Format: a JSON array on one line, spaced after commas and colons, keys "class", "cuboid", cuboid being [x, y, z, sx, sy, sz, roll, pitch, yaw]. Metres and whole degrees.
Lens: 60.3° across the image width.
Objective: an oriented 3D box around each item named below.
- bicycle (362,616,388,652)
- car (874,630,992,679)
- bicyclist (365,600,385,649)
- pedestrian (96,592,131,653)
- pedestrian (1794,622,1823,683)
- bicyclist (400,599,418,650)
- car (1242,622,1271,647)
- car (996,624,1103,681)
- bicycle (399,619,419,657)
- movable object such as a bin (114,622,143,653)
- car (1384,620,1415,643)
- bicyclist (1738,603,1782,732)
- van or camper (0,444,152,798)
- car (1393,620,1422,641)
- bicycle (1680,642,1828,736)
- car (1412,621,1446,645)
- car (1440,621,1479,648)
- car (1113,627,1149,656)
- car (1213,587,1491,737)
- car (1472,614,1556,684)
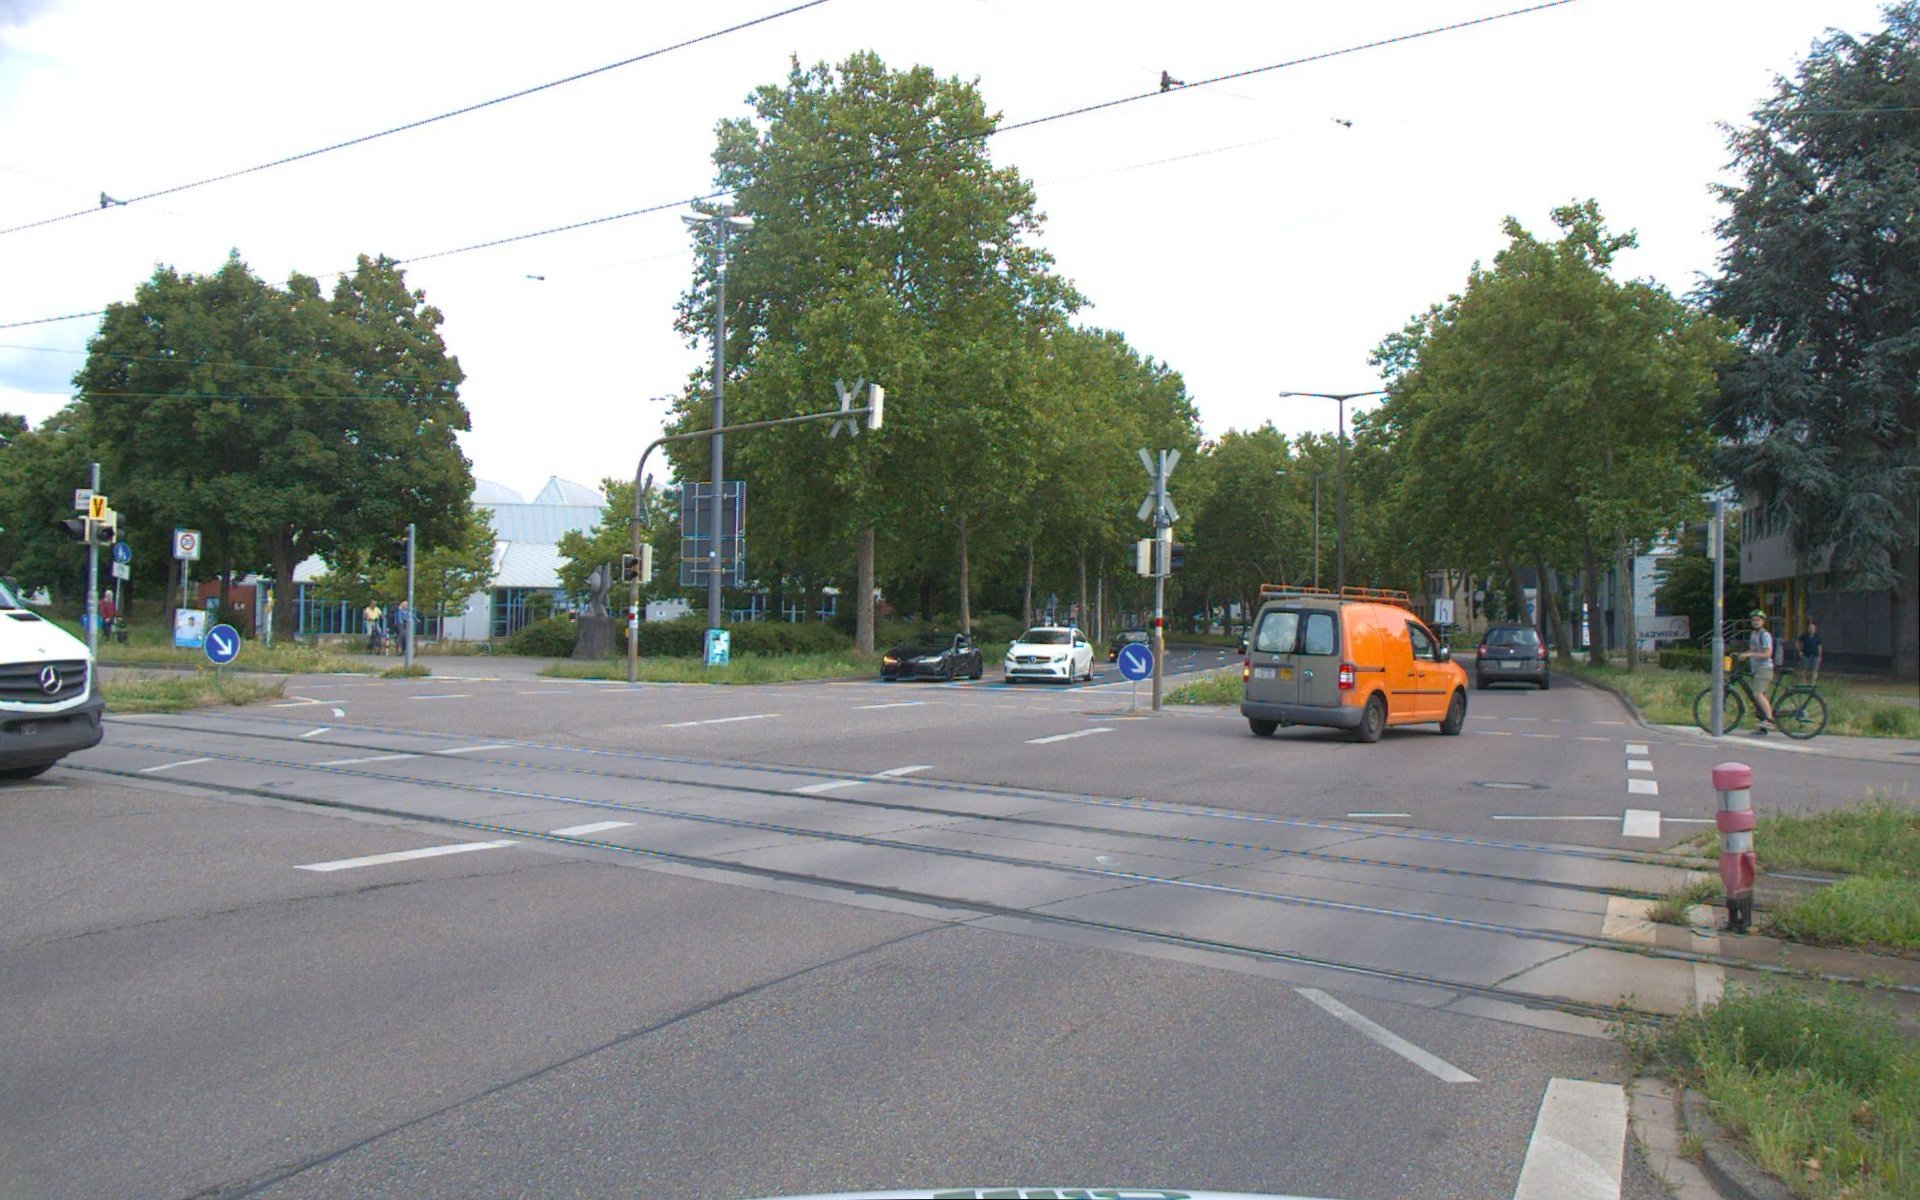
[{"class": "bicycle", "cuboid": [-19.386, 1.120, 54.779, 0.555, 1.150, 1.366, 1, -1, -30]}, {"class": "car", "cuboid": [-0.662, 1.429, 43.953, 1.603, 1.212, 3.704, 1, -1, 27]}, {"class": "bicyclist", "cuboid": [-19.377, 0.815, 54.789, 0.480, 1.581, 0.550, 3, -2, -31]}, {"class": "pedestrian", "cuboid": [-23.585, 0.621, 46.099, 0.622, 1.673, 0.614, 0, 1, 12]}, {"class": "pedestrian", "cuboid": [22.779, 1.392, 44.399, 0.607, 1.597, 0.559, 1, 1, 20]}, {"class": "bicyclist", "cuboid": [-17.469, 0.777, 52.431, 0.478, 1.581, 0.553, 2, -3, -19]}, {"class": "car", "cuboid": [17.841, 2.077, 99.702, 1.621, 1.293, 3.774, 0, 1, 8]}, {"class": "car", "cuboid": [2.414, 1.338, 43.529, 1.787, 1.388, 4.139, 1, -1, 18]}, {"class": "bicycle", "cuboid": [-17.477, 1.201, 52.431, 0.552, 1.150, 1.372, 3, -2, -19]}, {"class": "movable object such as a bin", "cuboid": [-23.123, 1.036, 46.002, 0.448, 0.825, 0.579, 0, 1, 11]}, {"class": "car", "cuboid": [35.061, 2.497, 131.992, 1.951, 1.601, 4.004, 0, 1, 8]}, {"class": "bicyclist", "cuboid": [11.669, 0.973, 24.132, 0.533, 1.841, 0.540, 1, 1, 29]}, {"class": "van or camper", "cuboid": [-9.737, 0.116, 13.138, 5.888, 2.569, 1.984, 1, -1, 11]}, {"class": "car", "cuboid": [38.536, 2.619, 142.582, 1.951, 1.601, 4.004, 0, 1, 8]}, {"class": "bicycle", "cuboid": [11.597, 1.277, 24.176, 1.909, 1.257, 0.540, 1, 1, 30]}, {"class": "car", "cuboid": [34.982, 2.482, 123.514, 1.951, 1.601, 4.004, 0, 1, 8]}, {"class": "car", "cuboid": [33.638, 2.307, 111.529, 1.951, 1.601, 4.004, 0, 1, 8]}, {"class": "car", "cuboid": [7.775, 1.879, 75.093, 1.600, 1.212, 3.711, 1, 0, 6]}, {"class": "car", "cuboid": [5.452, 0.803, 22.637, 1.851, 1.831, 4.343, 0, -1, 42]}, {"class": "car", "cuboid": [14.039, 1.230, 41.798, 1.695, 1.659, 4.050, 0, -2, 23]}]
